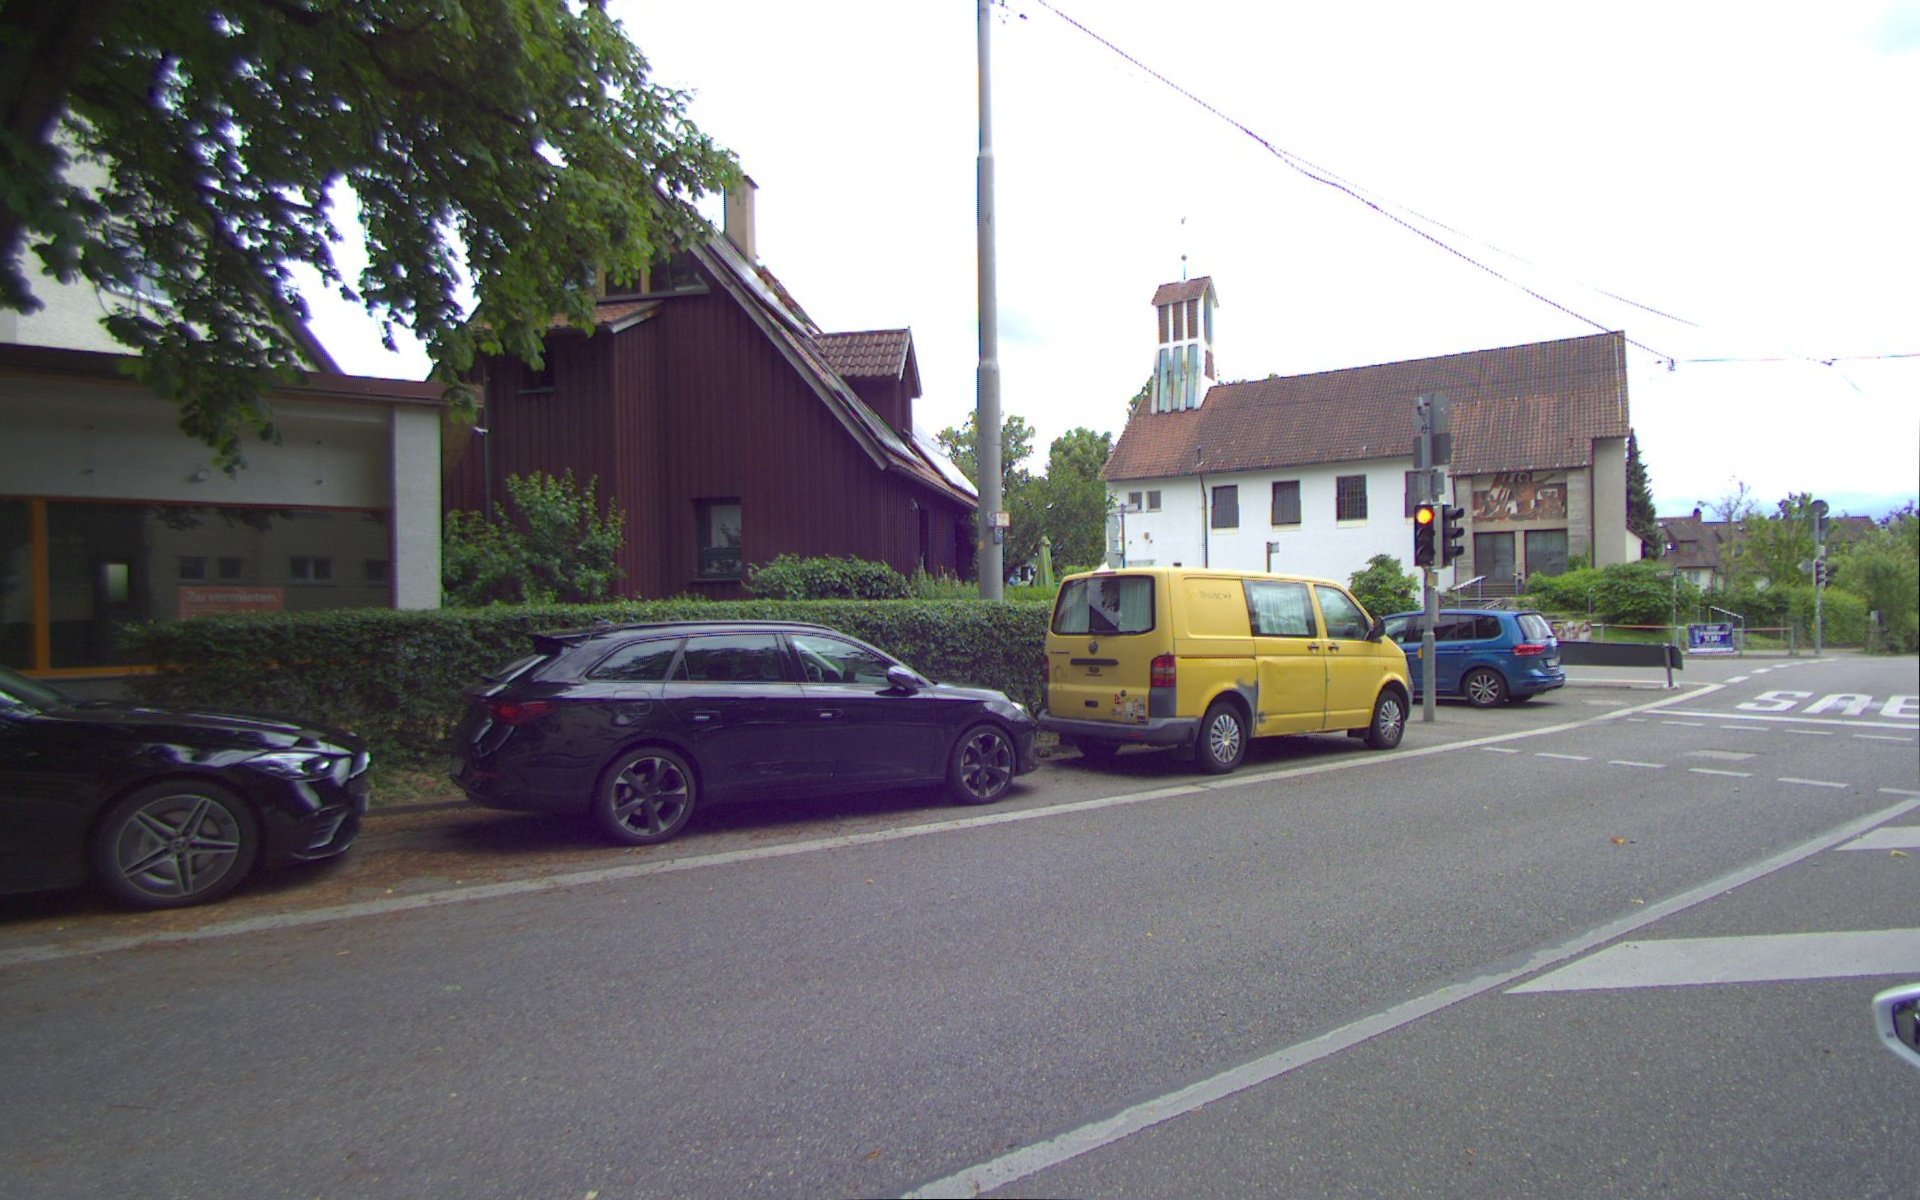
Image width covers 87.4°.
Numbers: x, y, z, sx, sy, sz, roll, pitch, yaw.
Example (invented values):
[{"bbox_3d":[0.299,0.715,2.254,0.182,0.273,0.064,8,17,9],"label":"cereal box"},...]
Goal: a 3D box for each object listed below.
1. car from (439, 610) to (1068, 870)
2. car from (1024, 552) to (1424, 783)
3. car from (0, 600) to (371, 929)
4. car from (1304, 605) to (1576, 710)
[{"bbox_3d":[-1.428,0.850,7.772,4.495,1.505,1.681,1,-2,-34],"label":"car"},{"bbox_3d":[3.022,0.643,11.026,4.523,2.040,1.870,1,-2,-37],"label":"car"},{"bbox_3d":[-5.640,0.777,5.079,4.561,1.520,1.984,1,-2,-31],"label":"car"},{"bbox_3d":[8.360,0.972,17.720,1.806,1.632,3.948,1,-3,-44],"label":"car"}]
